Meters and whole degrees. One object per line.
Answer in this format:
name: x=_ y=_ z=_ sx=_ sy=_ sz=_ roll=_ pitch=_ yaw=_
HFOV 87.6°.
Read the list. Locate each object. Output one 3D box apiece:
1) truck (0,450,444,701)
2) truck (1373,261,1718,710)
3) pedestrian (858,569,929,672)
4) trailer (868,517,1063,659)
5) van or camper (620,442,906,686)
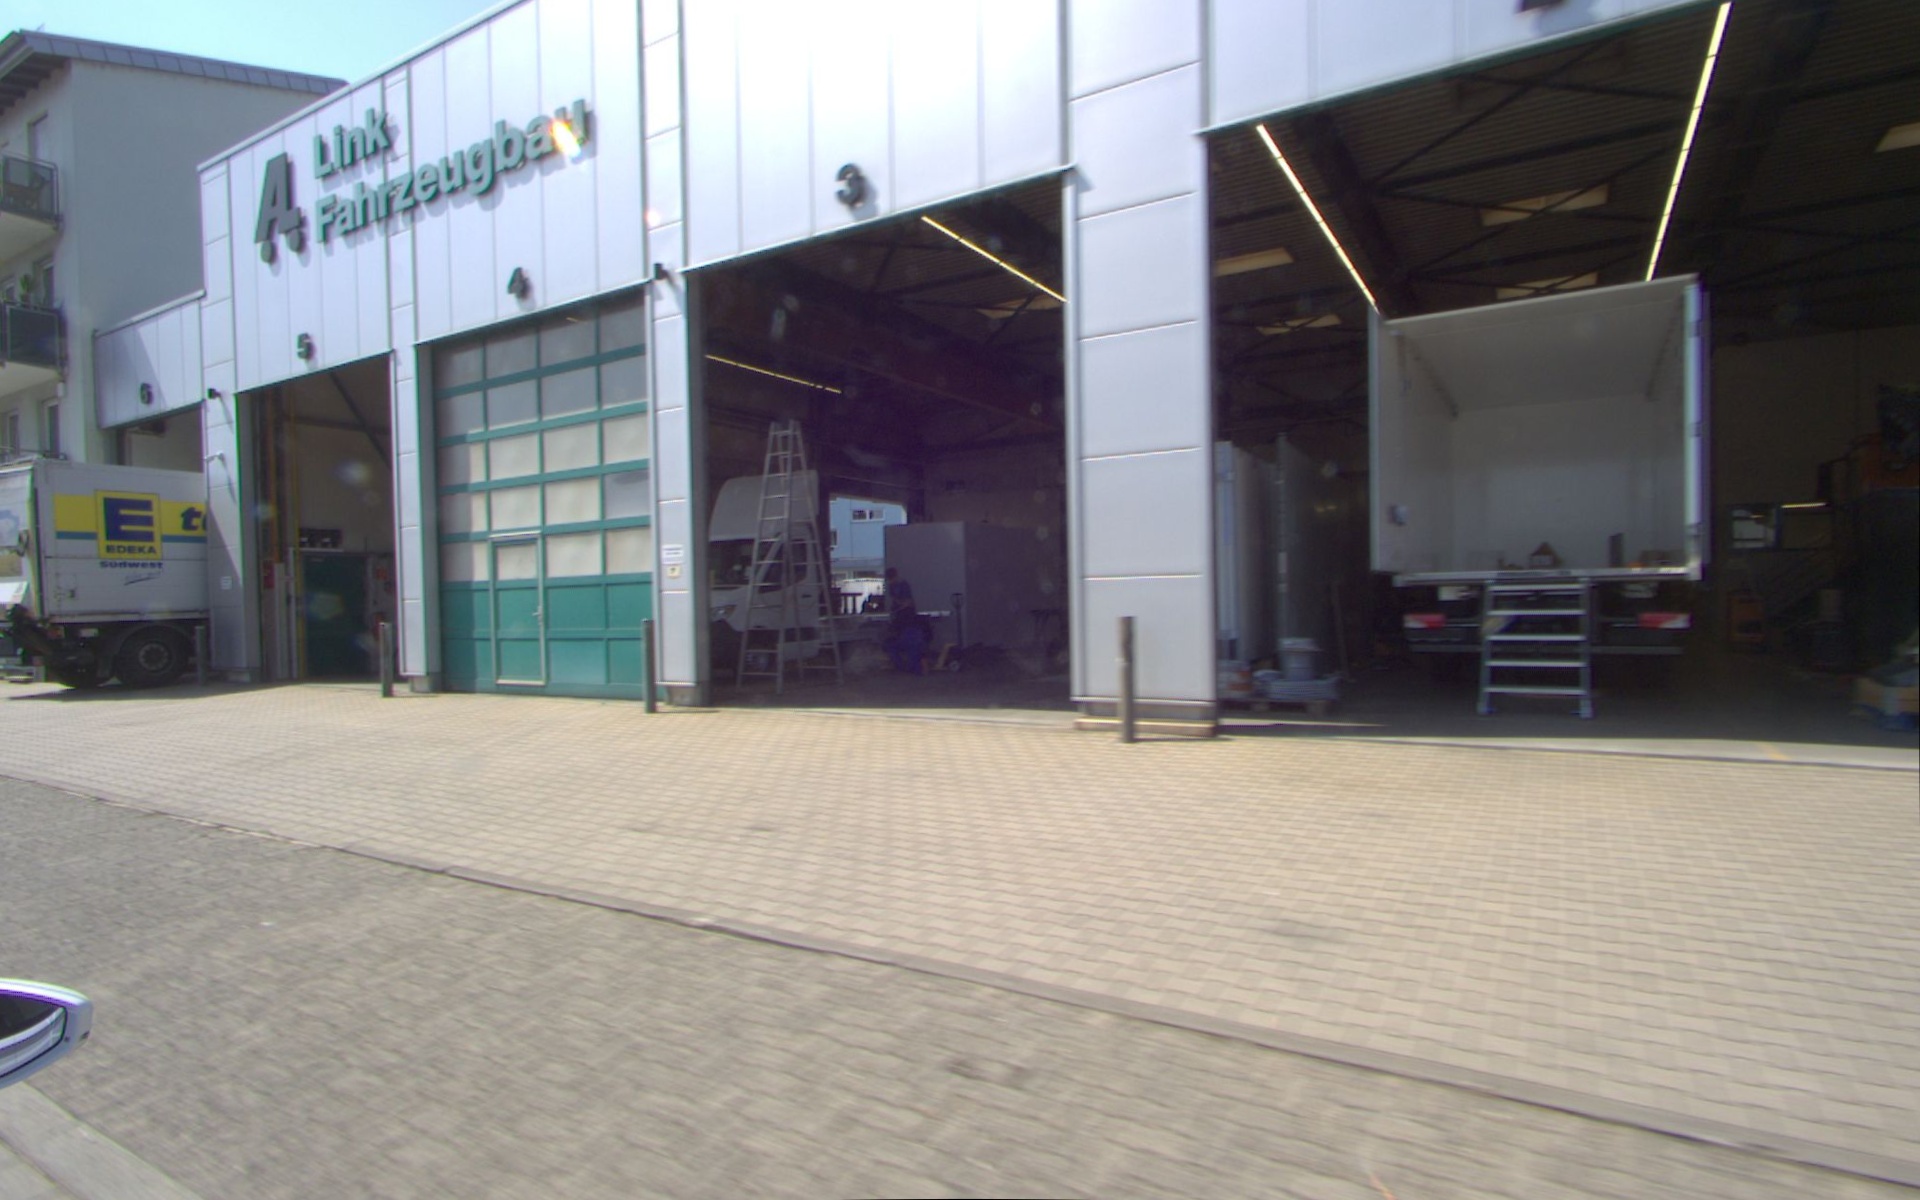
truck: x=-13.896 y=-0.533 z=18.599 sx=2.723 sy=3.696 sz=7.352 roll=-1 pitch=3 yaw=25
truck: x=6.767 y=-0.955 z=11.452 sx=2.740 sy=3.798 sz=5.284 roll=-1 pitch=0 yaw=34
pedestrian: x=-1.099 y=0.331 z=16.542 sx=0.852 sy=1.642 sz=0.810 roll=-1 pitch=1 yaw=30
trailer: x=0.253 y=-0.232 z=22.301 sx=2.401 sy=2.800 sz=4.486 roll=-1 pitch=0 yaw=31
van or camper: x=-2.949 y=-0.480 z=16.206 sx=1.969 sy=3.332 sz=4.751 roll=-1 pitch=0 yaw=28
